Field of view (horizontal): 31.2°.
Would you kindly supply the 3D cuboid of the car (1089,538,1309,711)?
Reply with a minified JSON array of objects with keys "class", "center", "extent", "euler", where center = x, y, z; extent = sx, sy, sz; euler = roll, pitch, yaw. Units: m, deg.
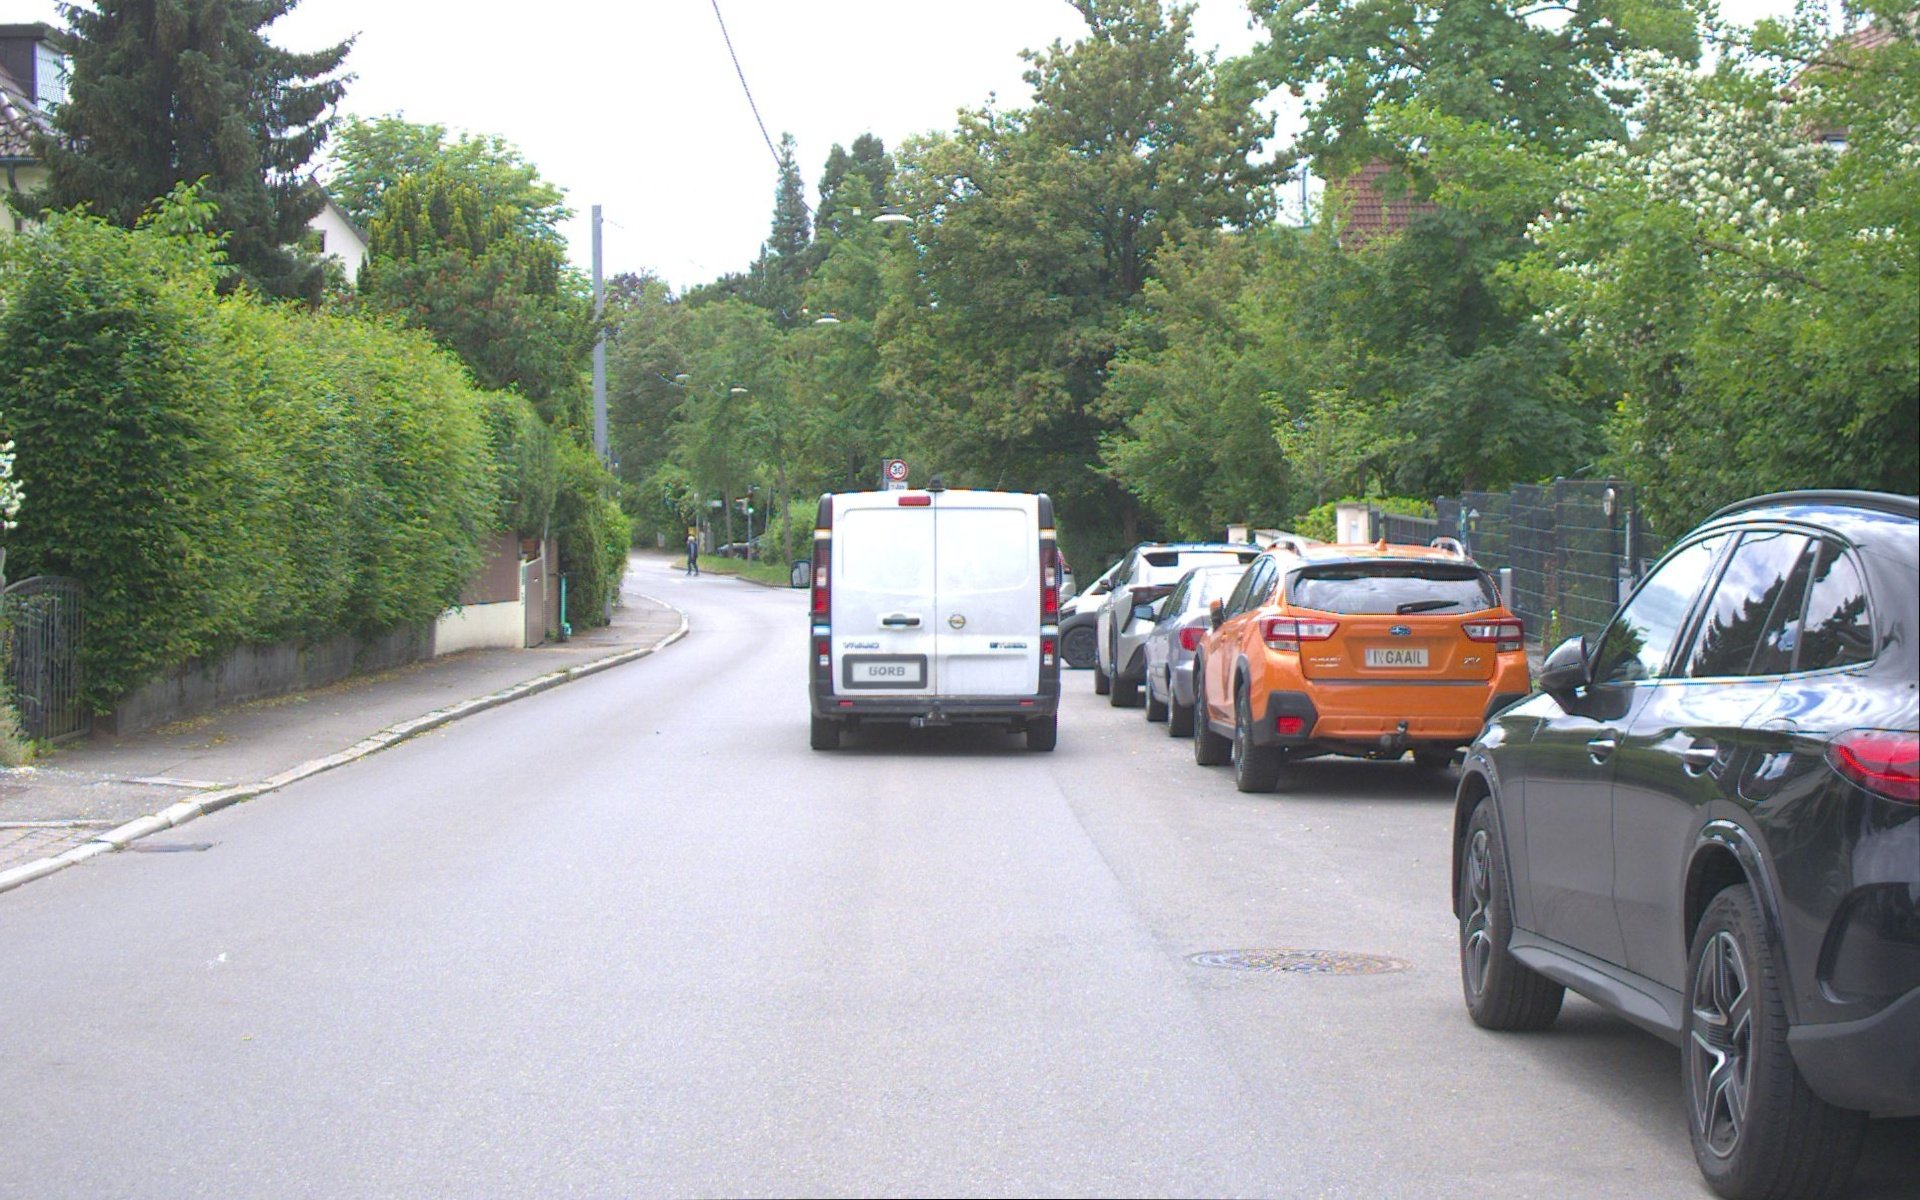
[{"class":"car","center":[2.331,0.201,34.524],"extent":[1.829,1.618,4.492],"euler":[0,1,-1]}]

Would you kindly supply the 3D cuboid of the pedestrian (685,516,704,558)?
[{"class":"pedestrian","center":[-10.366,-2.461,134.373],"extent":[0.697,1.610,0.715],"euler":[0,3,-7]}]

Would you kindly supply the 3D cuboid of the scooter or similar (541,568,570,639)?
[{"class":"scooter or similar","center":[-6.760,0.052,57.466],"extent":[0.391,1.167,1.270],"euler":[0,1,-2]}]

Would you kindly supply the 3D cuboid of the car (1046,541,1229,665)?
[{"class":"car","center":[2.285,0.027,43.991],"extent":[2.287,1.518,1.318],"euler":[-1,1,4]}]

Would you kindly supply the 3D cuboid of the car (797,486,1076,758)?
[{"class":"car","center":[-0.272,0.102,26.999],"extent":[1.929,1.957,4.403],"euler":[0,2,-4]}]

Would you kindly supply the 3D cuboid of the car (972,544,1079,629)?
[{"class":"car","center":[1.297,-0.296,69.951],"extent":[1.865,1.679,4.351],"euler":[0,1,-3]}]

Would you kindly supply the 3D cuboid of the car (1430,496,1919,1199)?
[{"class":"car","center":[2.637,0.590,9.125],"extent":[1.950,1.621,4.377],"euler":[1,1,-3]}]

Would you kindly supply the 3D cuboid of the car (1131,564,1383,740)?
[{"class":"car","center":[2.451,0.391,29.283],"extent":[1.716,1.377,4.236],"euler":[0,1,-1]}]

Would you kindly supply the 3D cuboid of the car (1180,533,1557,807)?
[{"class":"car","center":[2.598,0.397,22.801],"extent":[1.850,1.621,4.170],"euler":[1,1,-2]}]
